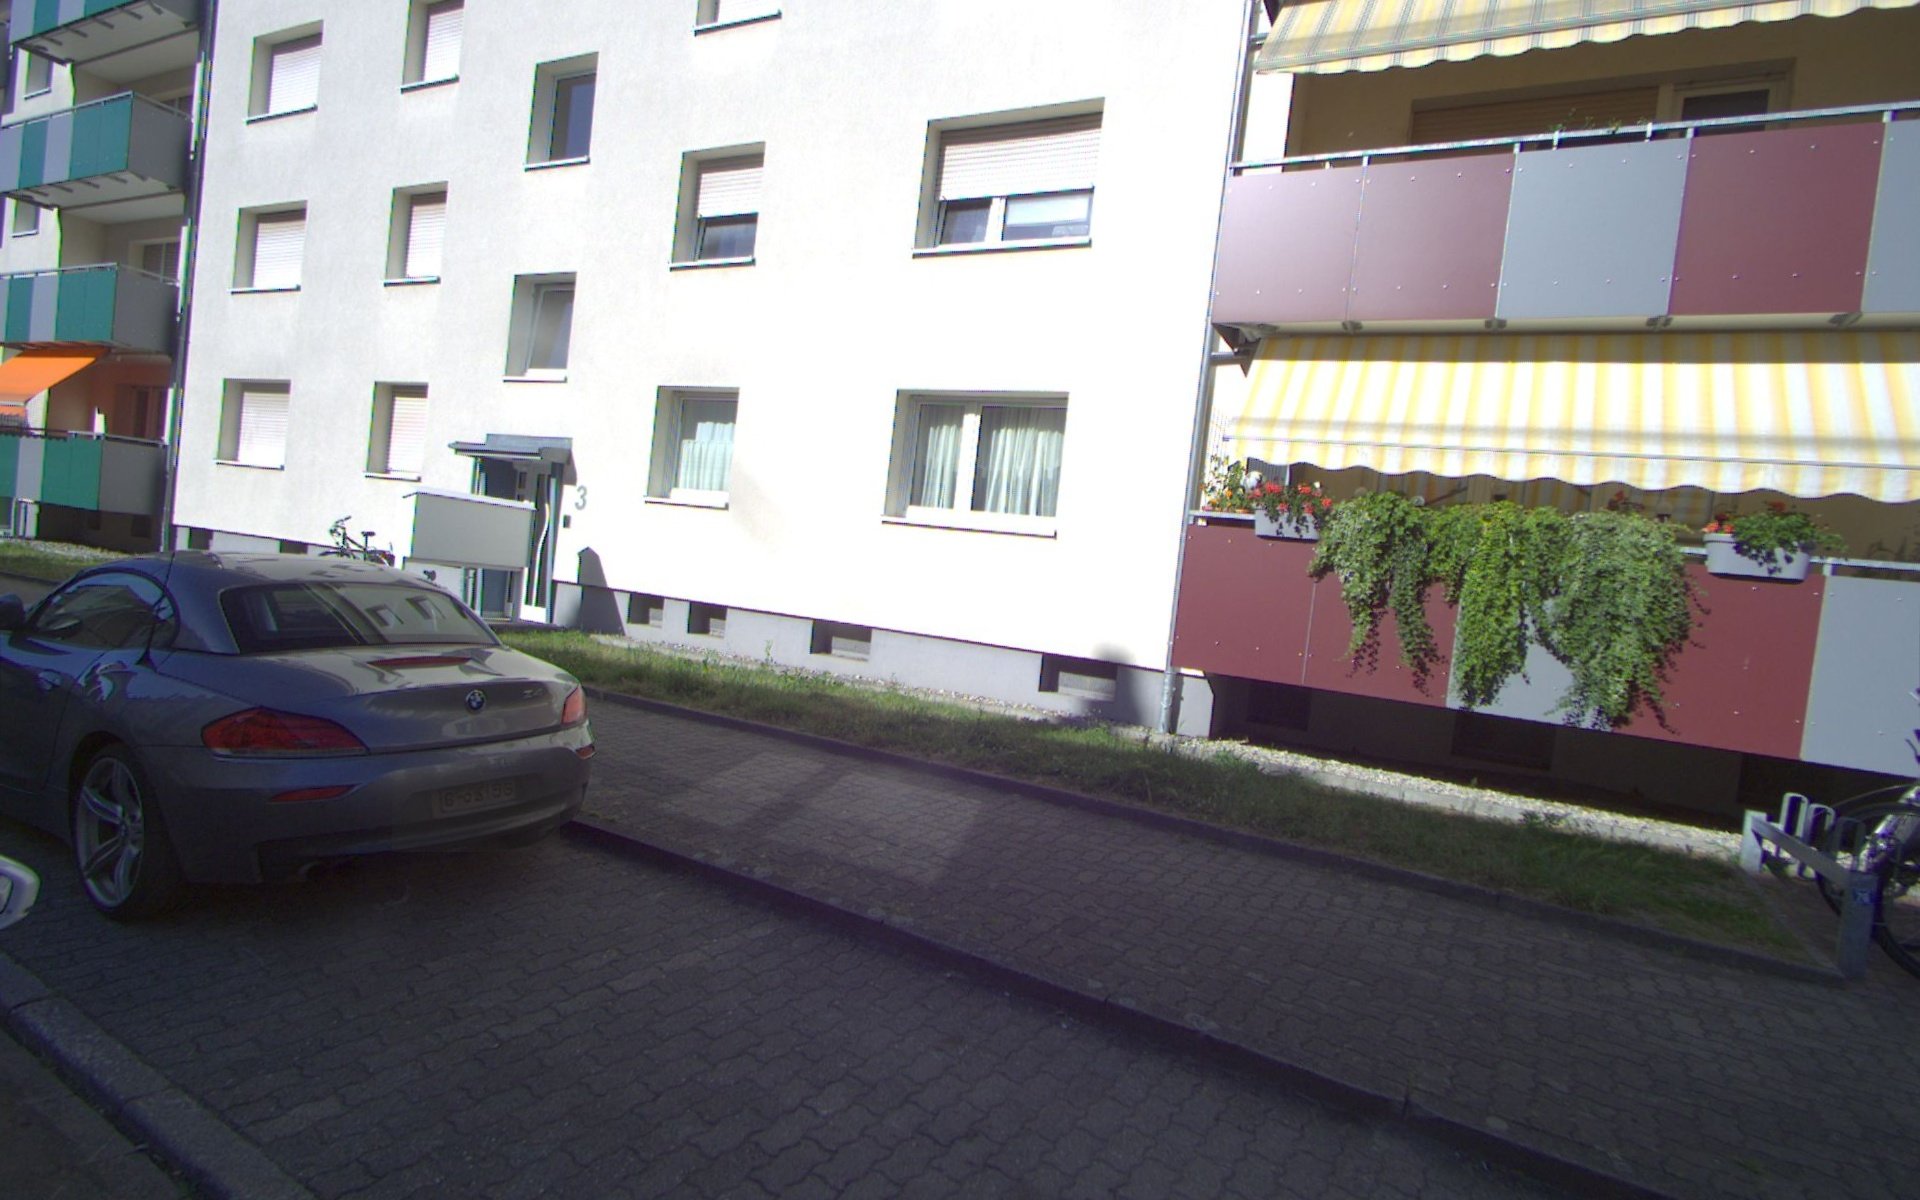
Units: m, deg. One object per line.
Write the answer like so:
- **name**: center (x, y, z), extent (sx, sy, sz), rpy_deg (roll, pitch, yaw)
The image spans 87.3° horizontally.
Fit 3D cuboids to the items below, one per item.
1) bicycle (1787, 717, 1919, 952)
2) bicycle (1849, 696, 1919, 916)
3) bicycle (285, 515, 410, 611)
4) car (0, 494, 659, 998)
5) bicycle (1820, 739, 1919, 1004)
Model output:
- **bicycle**: center (5.210, 1.247, 4.718), extent (1.864, 0.992, 0.617), rpy_deg (9, 6, 31)
- **bicycle**: center (5.990, 1.230, 5.347), extent (1.732, 1.166, 0.407), rpy_deg (7, 4, 30)
- **bicycle**: center (-8.369, -0.523, 13.727), extent (1.702, 1.084, 0.649), rpy_deg (8, 7, 27)
- **car**: center (-3.616, 0.317, 4.807), extent (4.167, 1.382, 1.685), rpy_deg (7, 4, 29)
- **bicycle**: center (4.762, 1.250, 4.047), extent (1.810, 1.034, 0.497), rpy_deg (7, 4, 30)
